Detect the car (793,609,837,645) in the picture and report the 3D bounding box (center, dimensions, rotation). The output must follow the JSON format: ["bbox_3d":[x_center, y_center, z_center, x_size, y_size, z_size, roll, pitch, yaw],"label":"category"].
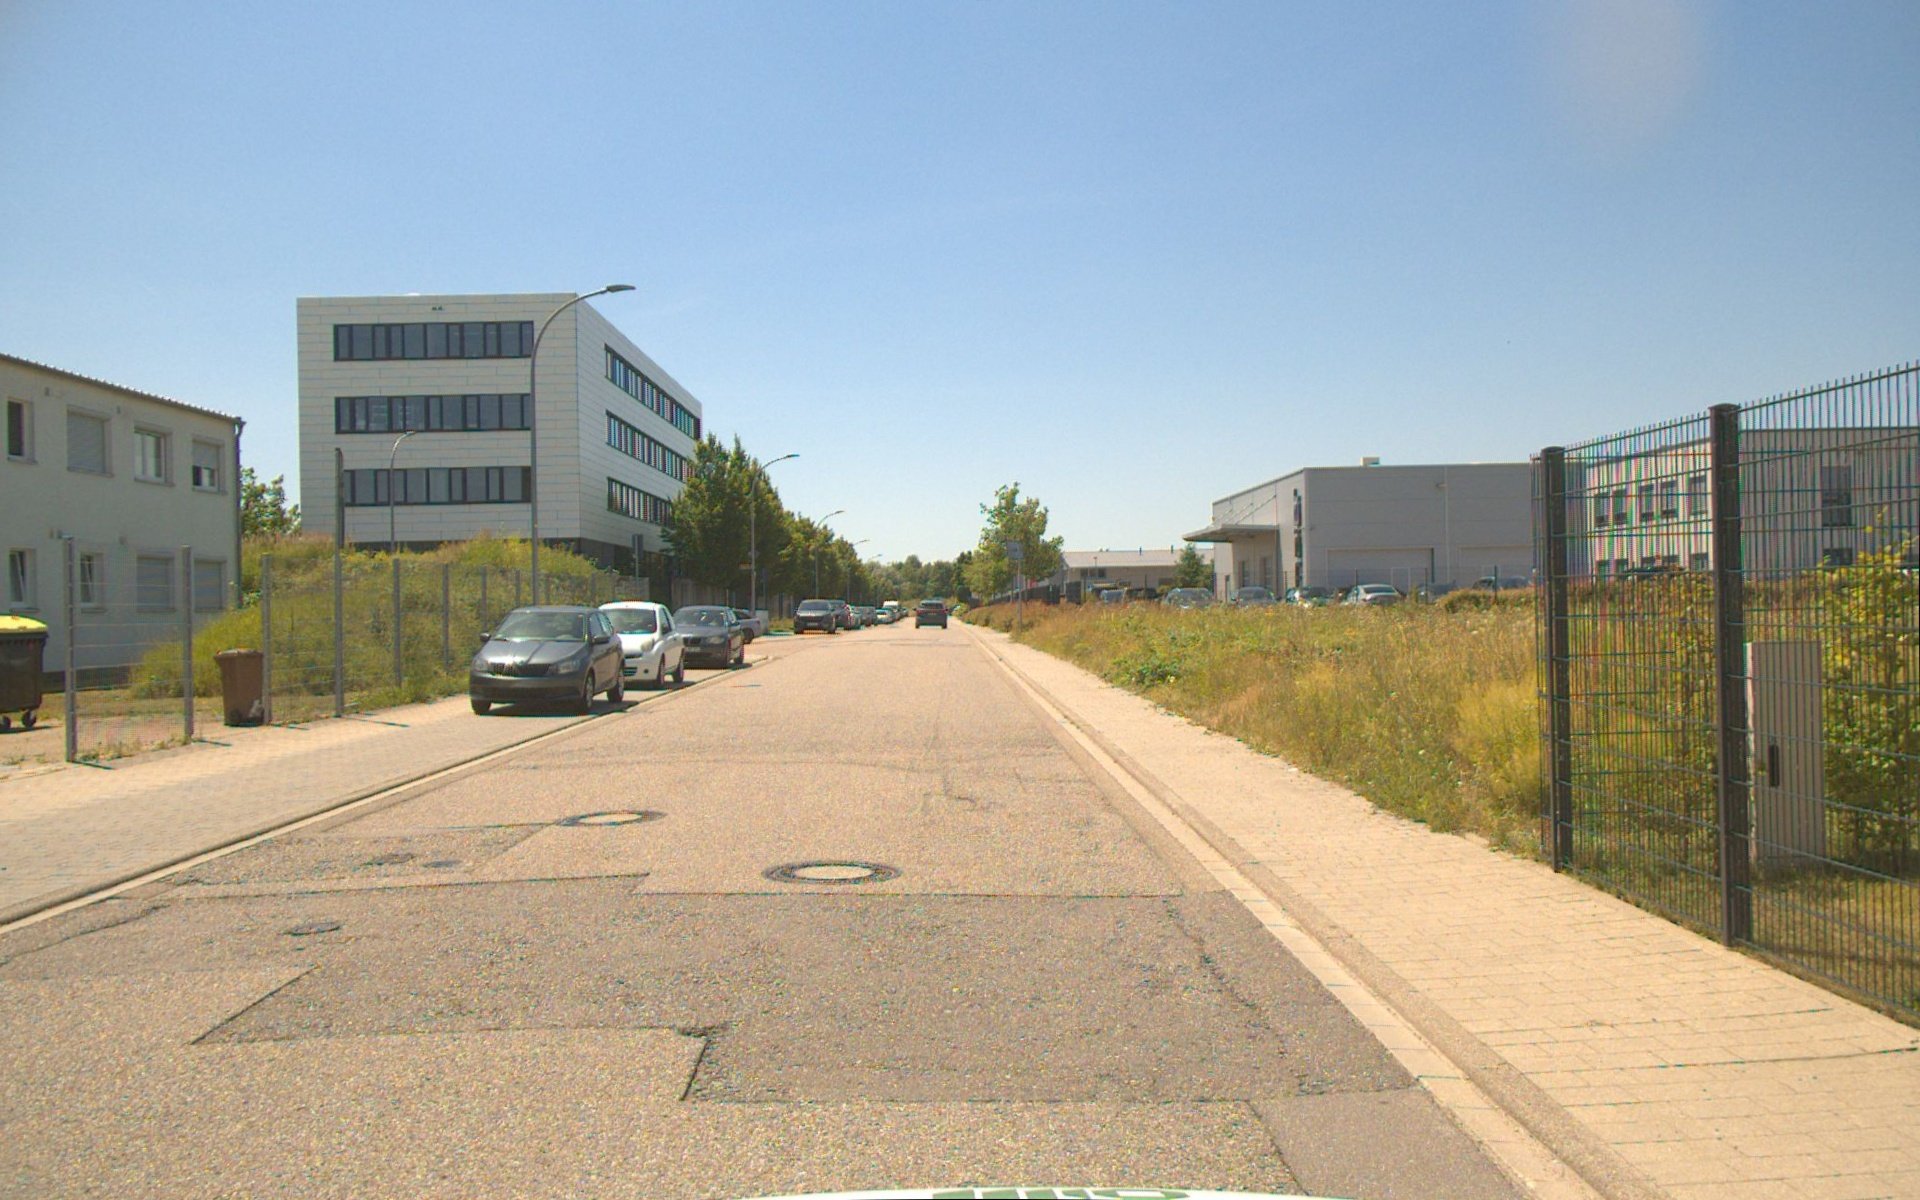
[{"bbox_3d":[-6.935,1.284,79.397,1.735,1.616,4.480,-1,-1,-1],"label":"car"}]

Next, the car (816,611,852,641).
[{"bbox_3d":[-7.045,1.438,92.743,1.735,1.652,4.581,0,-1,-1],"label":"car"}]

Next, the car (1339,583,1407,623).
[{"bbox_3d":[15.275,0.129,61.298,1.484,1.421,3.539,-2,-1,-2],"label":"car"}]

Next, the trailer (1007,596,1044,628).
[{"bbox_3d":[5.276,0.947,134.271,2.767,2.445,1.418,-2,-1,-5],"label":"trailer"}]

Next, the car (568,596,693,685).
[{"bbox_3d":[-6.089,0.738,30.927,1.640,1.557,3.756,0,-1,-1],"label":"car"}]

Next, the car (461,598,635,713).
[{"bbox_3d":[-5.965,0.778,24.363,1.640,1.557,3.908,0,-1,-1],"label":"car"}]

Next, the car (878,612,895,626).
[{"bbox_3d":[-7.843,2.046,176.166,1.686,1.502,3.854,0,-1,-3],"label":"car"}]

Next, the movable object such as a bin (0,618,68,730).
[{"bbox_3d":[-12.674,0.956,21.742,1.119,1.430,1.388,-1,-1,1],"label":"movable object such as a bin"}]

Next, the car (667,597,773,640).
[{"bbox_3d":[-9.339,0.711,64.640,1.741,1.616,4.059,-2,-1,37],"label":"car"}]

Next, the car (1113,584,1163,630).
[{"bbox_3d":[6.477,0.255,60.409,1.437,1.601,2.661,-2,-1,-1],"label":"car"}]

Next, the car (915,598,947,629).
[{"bbox_3d":[-1.671,0.779,94.524,1.753,1.652,3.808,1,-1,-1],"label":"car"}]

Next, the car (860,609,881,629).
[{"bbox_3d":[-7.789,1.659,144.620,1.735,1.640,4.245,0,-1,-2],"label":"car"}]

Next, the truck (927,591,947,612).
[{"bbox_3d":[-3.491,0.263,250.052,2.873,3.026,6.418,1,-1,-1],"label":"truck"}]

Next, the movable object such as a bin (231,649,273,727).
[{"bbox_3d":[-8.956,1.110,20.928,0.298,0.956,0.497,-1,-1,1],"label":"movable object such as a bin"}]

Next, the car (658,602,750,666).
[{"bbox_3d":[-6.103,0.800,39.823,1.640,1.476,4.068,0,-1,-1],"label":"car"}]

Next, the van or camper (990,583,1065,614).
[{"bbox_3d":[6.105,-0.121,150.553,6.621,2.630,2.634,-2,-1,-2],"label":"van or camper"}]

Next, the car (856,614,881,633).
[{"bbox_3d":[-7.024,1.816,127.293,1.735,1.456,4.200,0,-1,-1],"label":"car"}]
